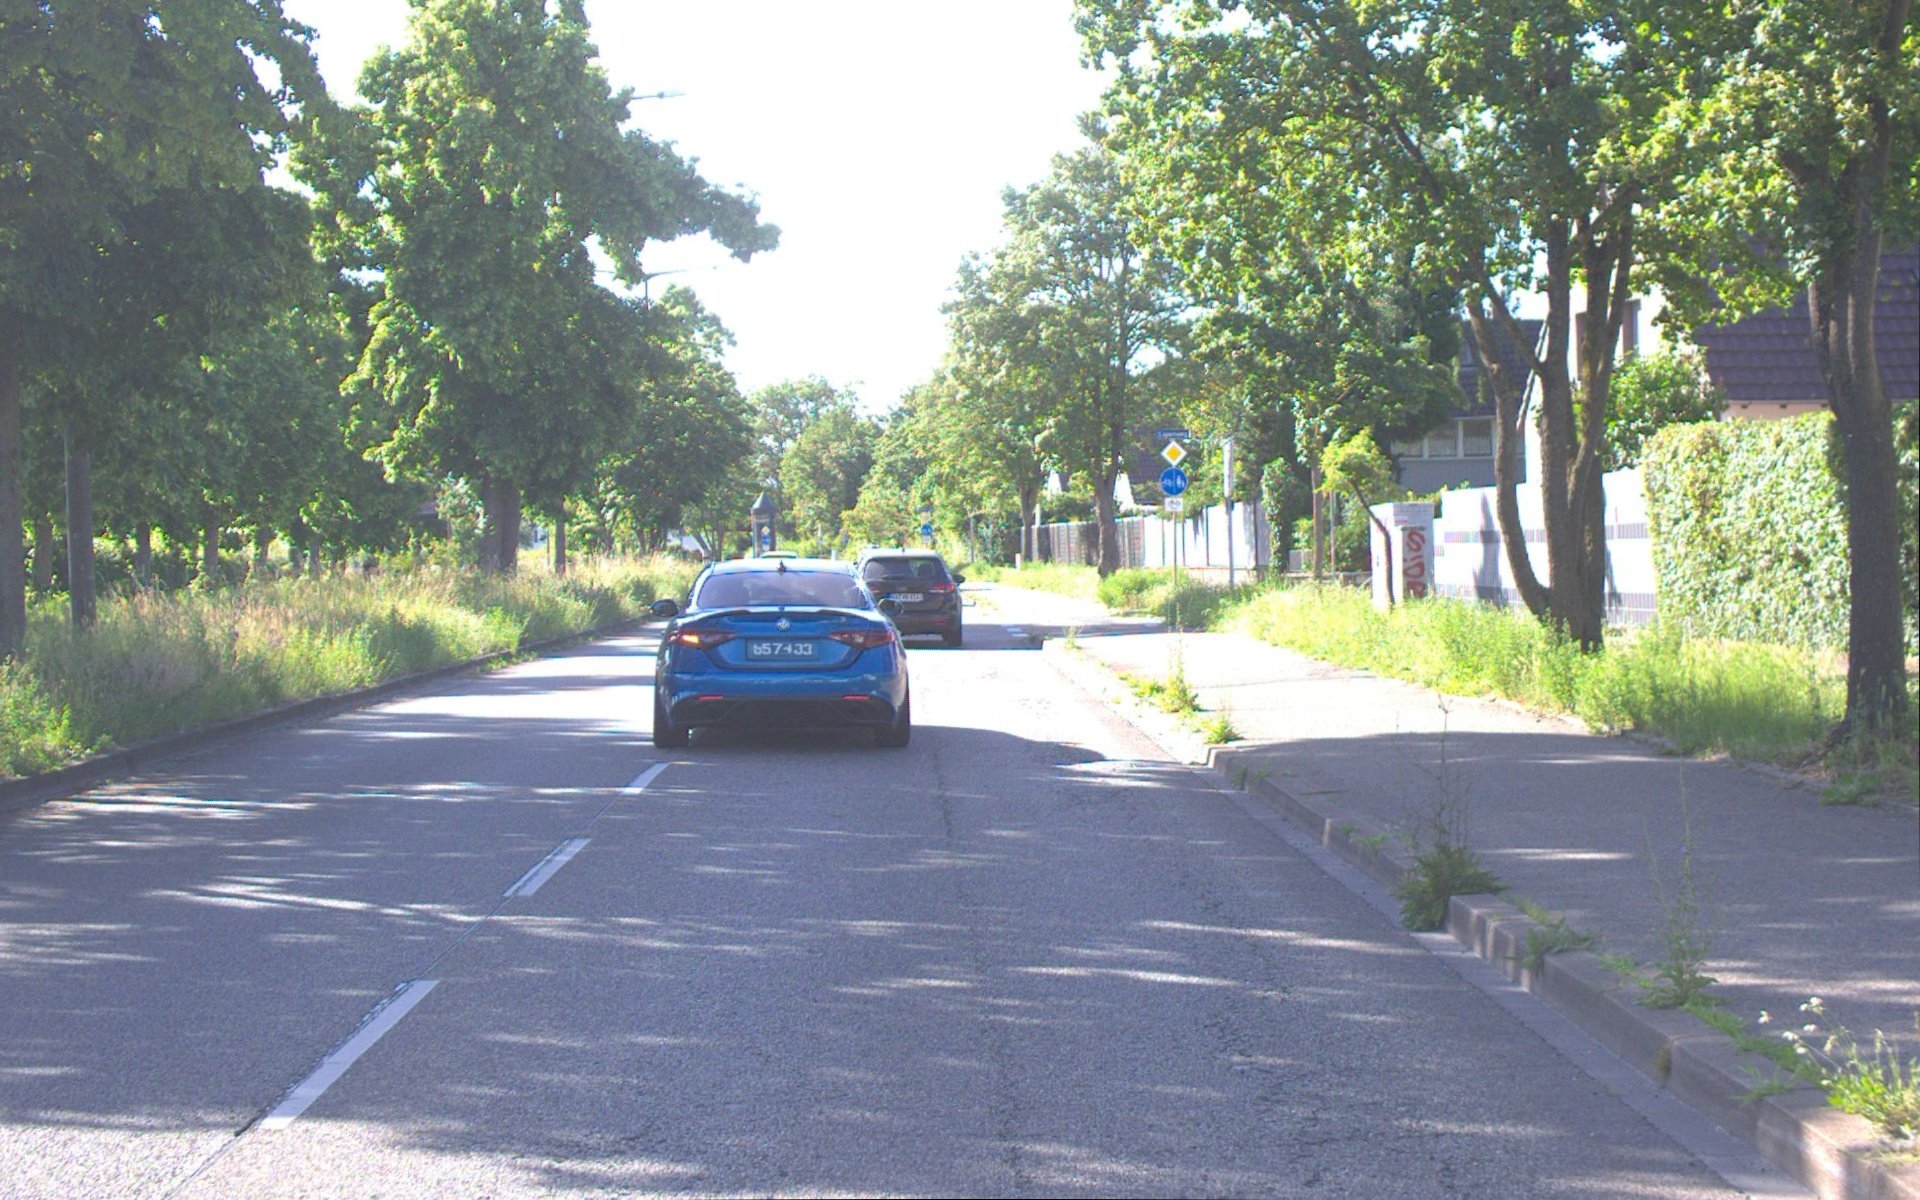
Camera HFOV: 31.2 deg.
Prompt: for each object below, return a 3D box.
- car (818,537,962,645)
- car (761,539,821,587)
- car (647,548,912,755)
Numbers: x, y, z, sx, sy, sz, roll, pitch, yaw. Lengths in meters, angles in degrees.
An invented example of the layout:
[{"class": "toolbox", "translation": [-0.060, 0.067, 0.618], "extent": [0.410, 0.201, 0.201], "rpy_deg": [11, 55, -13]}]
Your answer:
[{"class": "car", "translation": [-1.121, -0.171, 52.756], "extent": [1.915, 1.574, 4.183], "rpy_deg": [-1, 1, -5]}, {"class": "car", "translation": [-5.567, -1.228, 113.109], "extent": [1.915, 1.507, 4.068], "rpy_deg": [-1, 1, -3]}, {"class": "car", "translation": [-1.321, 0.360, 26.713], "extent": [1.838, 1.469, 4.184], "rpy_deg": [-1, 0, 0]}]
